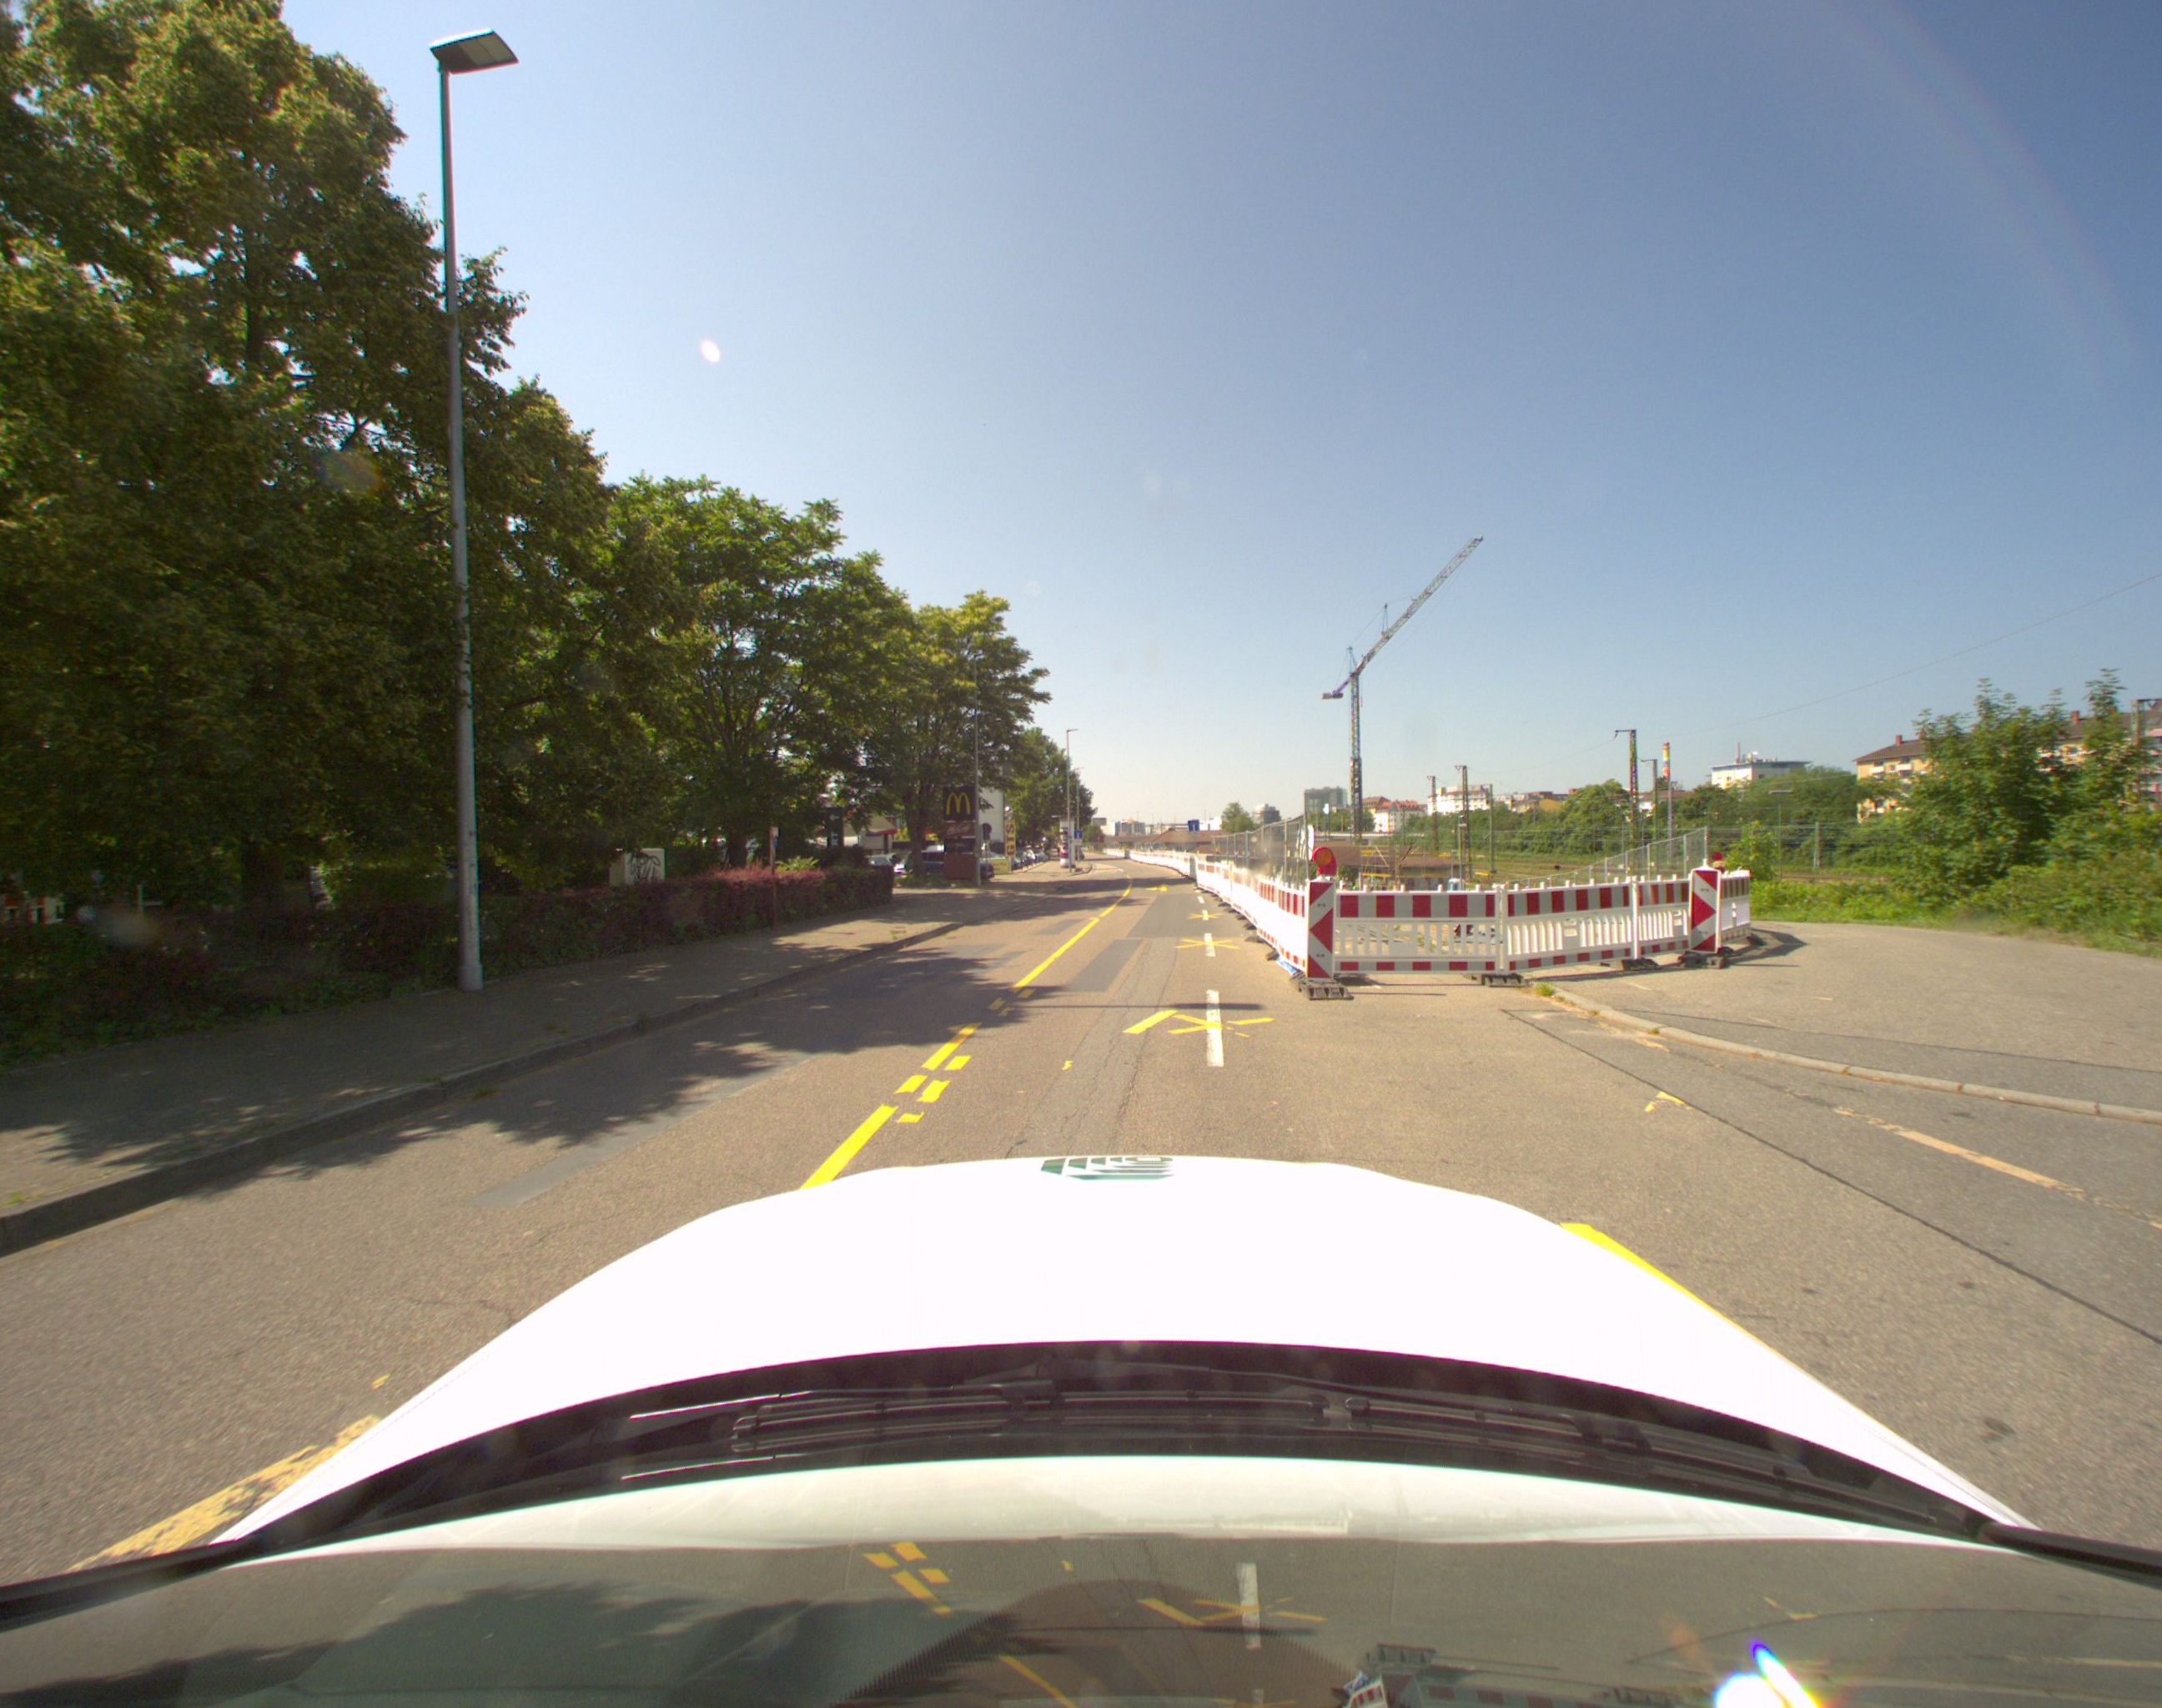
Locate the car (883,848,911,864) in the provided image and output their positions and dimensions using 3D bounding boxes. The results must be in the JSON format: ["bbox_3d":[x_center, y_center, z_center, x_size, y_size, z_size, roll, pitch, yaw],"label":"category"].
[{"bbox_3d":[-16.884,0.203,74.768,1.576,1.421,3.654,-1,0,-28],"label":"car"}]

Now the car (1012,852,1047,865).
[{"bbox_3d":[-5.937,0.480,93.331,3.642,1.421,1.582,-1,0,25],"label":"car"}]

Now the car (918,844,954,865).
[{"bbox_3d":[-13.467,0.058,75.434,2.006,1.904,3.961,-1,0,-31],"label":"car"}]

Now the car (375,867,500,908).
[{"bbox_3d":[-21.980,1.142,27.831,3.565,1.299,1.643,-1,0,19],"label":"car"}]

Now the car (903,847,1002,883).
[{"bbox_3d":[-7.437,0.628,47.060,5.315,1.935,2.011,-1,0,24],"label":"car"}]

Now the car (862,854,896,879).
[{"bbox_3d":[-15.039,0.889,60.533,2.001,1.728,3.972,-2,0,-21],"label":"car"}]
